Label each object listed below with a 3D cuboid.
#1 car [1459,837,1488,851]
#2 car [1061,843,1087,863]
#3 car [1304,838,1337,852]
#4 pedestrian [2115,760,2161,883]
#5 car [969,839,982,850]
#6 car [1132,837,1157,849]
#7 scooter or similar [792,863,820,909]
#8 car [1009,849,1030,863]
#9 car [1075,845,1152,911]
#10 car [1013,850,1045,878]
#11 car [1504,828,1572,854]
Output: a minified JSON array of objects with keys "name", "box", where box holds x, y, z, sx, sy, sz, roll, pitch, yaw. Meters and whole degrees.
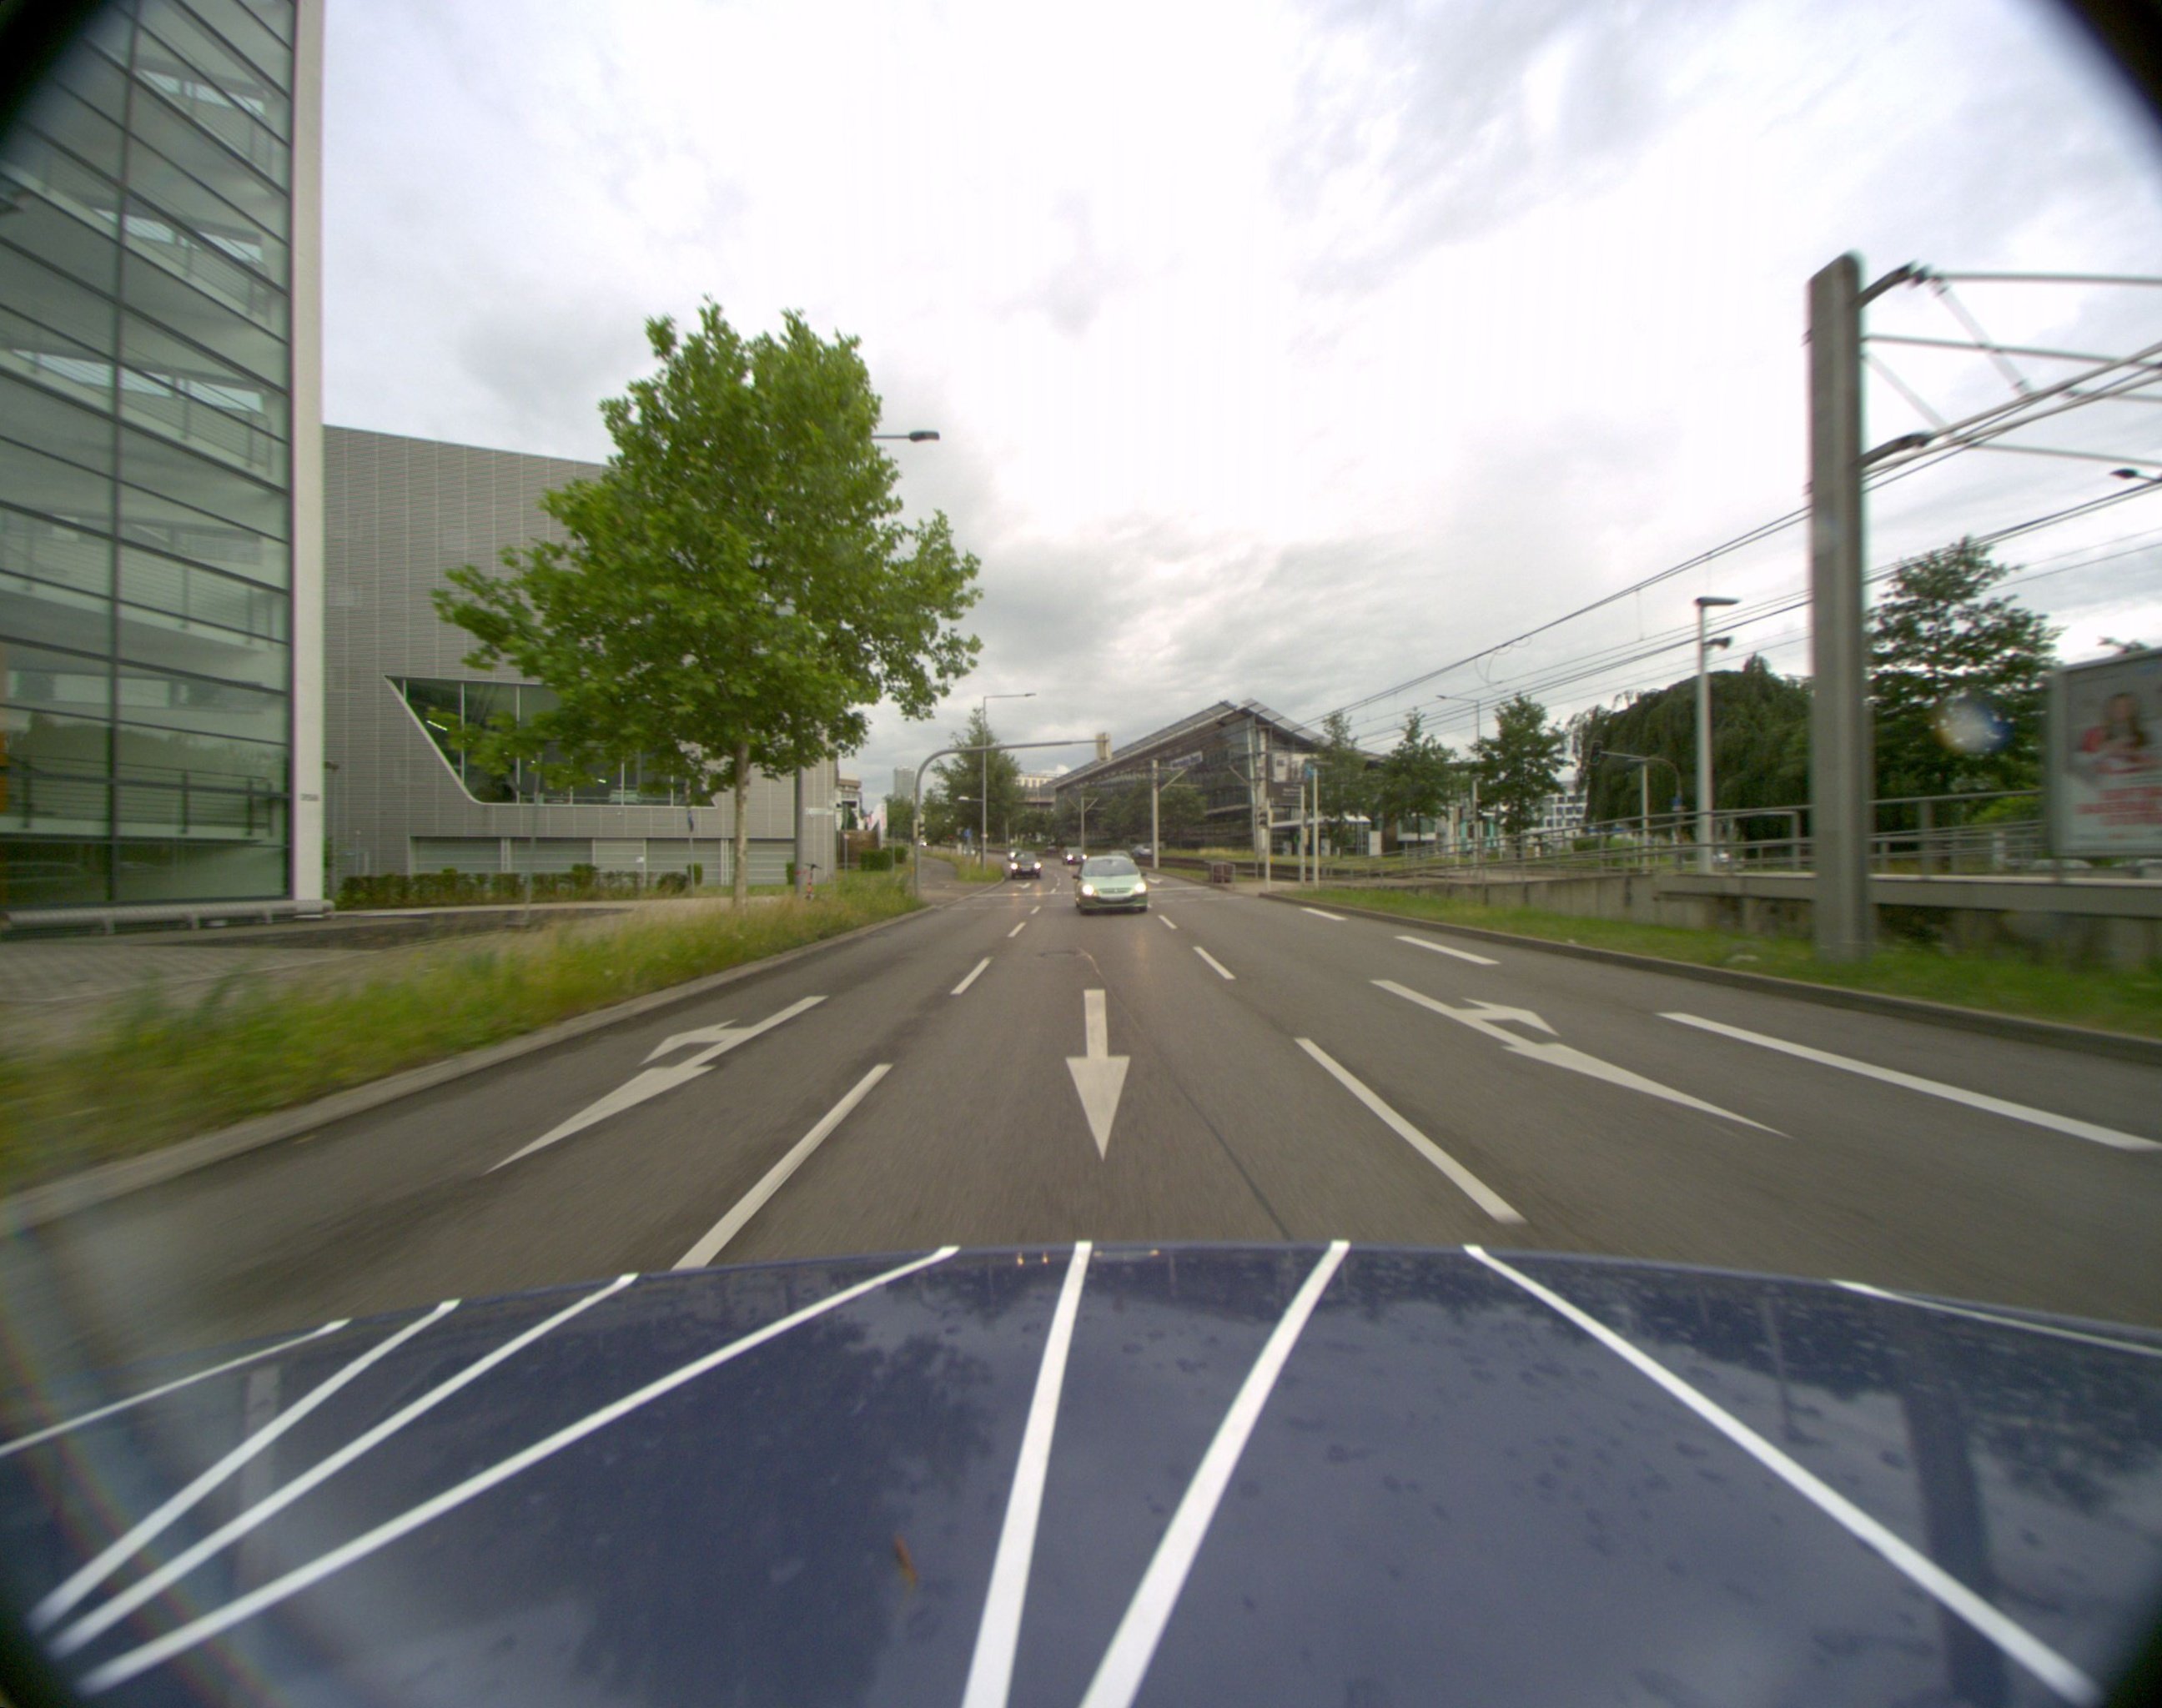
[{"name":"car","box":[53.291,-1.343,103.335,1.782,1.701,3.744,-2,3,-5]},{"name":"car","box":[-0.682,-0.143,72.157,1.862,1.799,4.110,-2,1,-8]},{"name":"car","box":[33.127,-1.292,105.143,1.898,1.841,3.988,-5,5,-43]},{"name":"pedestrian","box":[17.217,-0.523,12.082,0.550,1.942,0.663,-2,4,-8]},{"name":"car","box":[-21.535,-2.030,155.359,2.001,2.003,3.992,-3,3,-16]},{"name":"car","box":[8.815,-1.517,105.872,2.002,1.670,3.992,-3,2,-21]},{"name":"scooter or similar","box":[-7.870,0.897,21.755,0.459,1.256,1.336,1,1,-8]},{"name":"car","box":[-7.551,0.226,92.826,1.863,1.673,4.108,0,0,-13]},{"name":"car","box":[0.805,0.566,20.561,1.828,1.500,4.113,-2,1,0]},{"name":"car","box":[-3.265,0.566,47.844,1.829,1.599,4.112,-2,1,-4]},{"name":"car","box":[32.780,-0.984,54.623,2.000,1.642,3.994,-2,3,-12]}]
